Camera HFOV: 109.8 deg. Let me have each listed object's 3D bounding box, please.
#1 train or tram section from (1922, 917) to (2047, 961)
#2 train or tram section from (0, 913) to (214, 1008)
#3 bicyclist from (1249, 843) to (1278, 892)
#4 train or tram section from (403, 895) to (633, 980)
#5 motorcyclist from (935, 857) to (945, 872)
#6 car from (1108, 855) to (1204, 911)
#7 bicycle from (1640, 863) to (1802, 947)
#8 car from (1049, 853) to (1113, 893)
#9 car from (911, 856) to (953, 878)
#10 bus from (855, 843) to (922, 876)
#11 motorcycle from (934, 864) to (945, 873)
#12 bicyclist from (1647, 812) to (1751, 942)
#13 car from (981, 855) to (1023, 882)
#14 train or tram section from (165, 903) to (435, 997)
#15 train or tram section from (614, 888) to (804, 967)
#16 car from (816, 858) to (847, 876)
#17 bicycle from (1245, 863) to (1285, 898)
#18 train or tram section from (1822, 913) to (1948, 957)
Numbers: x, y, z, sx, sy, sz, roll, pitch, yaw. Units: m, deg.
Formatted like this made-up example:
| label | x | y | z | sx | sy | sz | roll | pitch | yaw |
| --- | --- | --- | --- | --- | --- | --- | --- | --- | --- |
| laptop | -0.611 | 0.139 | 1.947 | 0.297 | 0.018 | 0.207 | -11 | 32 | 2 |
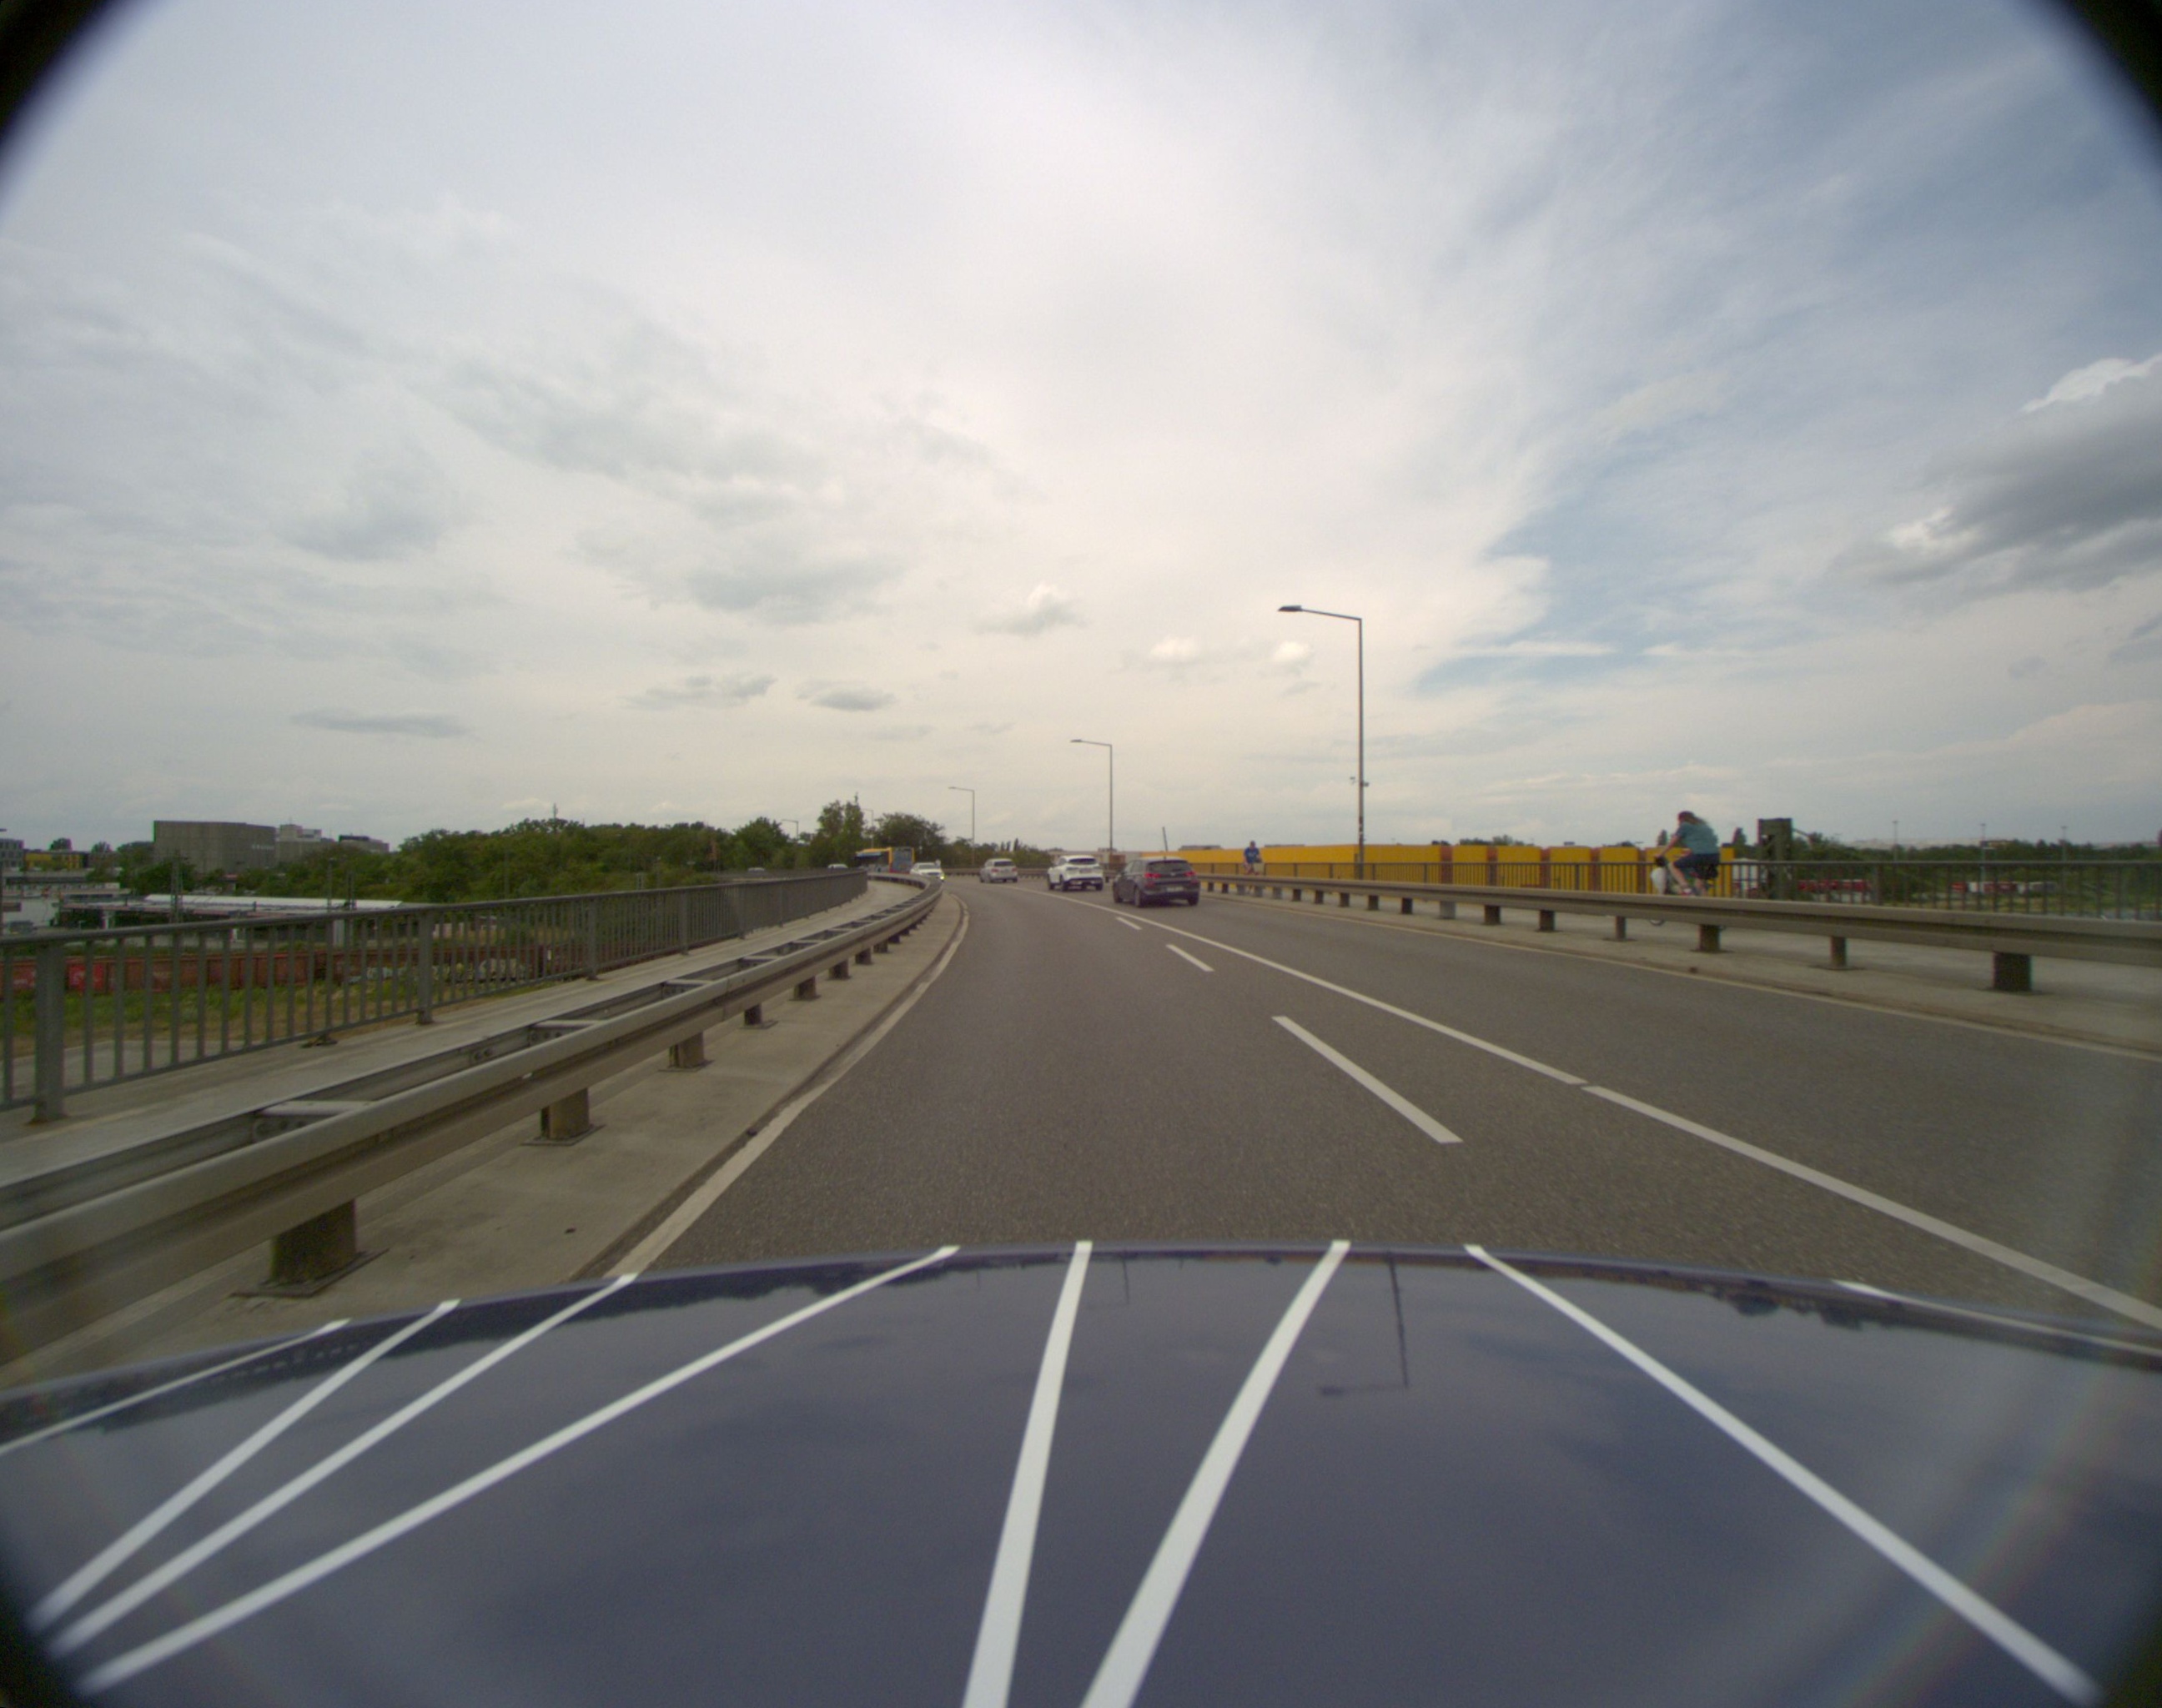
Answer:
| label | x | y | z | sx | sy | sz | roll | pitch | yaw |
| --- | --- | --- | --- | --- | --- | --- | --- | --- | --- |
| train or tram section | 99.279 | 9.321 | 83.506 | 12.762 | 4.071 | 2.081 | 3 | 0 | -7 |
| train or tram section | -72.011 | 7.494 | 53.063 | 15.025 | 5.644 | 3.971 | -2 | 1 | -17 |
| bicyclist | 5.921 | 0.433 | 24.721 | 0.612 | 1.531 | 0.756 | -2 | 1 | -12 |
| train or tram section | -44.600 | 6.514 | 60.891 | 14.264 | 5.566 | 3.654 | -2 | 1 | -14 |
| motorcyclist | -14.769 | 1.088 | 79.660 | 0.813 | 1.520 | 0.822 | -2 | 1 | -28 |
| car | 2.179 | 0.806 | 23.372 | 1.814 | 1.468 | 4.378 | -2 | 0 | -10 |
| bicycle | 9.111 | 0.681 | 10.921 | 0.648 | 1.061 | 1.760 | -2 | 1 | -10 |
| car | -0.094 | 0.797 | 34.204 | 1.947 | 1.584 | 4.769 | -2 | 0 | -11 |
| car | -11.028 | 0.972 | 56.015 | 1.941 | 1.448 | 3.878 | -3 | 0 | -27 |
| bus | -20.742 | 0.623 | 81.009 | 3.046 | 3.214 | 12.920 | -2 | 1 | -32 |
| motorcycle | -14.823 | 1.514 | 79.700 | 0.628 | 0.957 | 1.836 | -2 | 1 | -27 |
| bicyclist | 9.021 | 0.319 | 11.113 | 0.851 | 1.798 | 0.796 | -2 | 1 | -10 |
| car | -5.227 | 0.914 | 49.755 | 1.825 | 1.611 | 4.391 | -2 | 1 | -18 |
| train or tram section | -58.185 | 7.014 | 57.261 | 13.917 | 5.645 | 3.838 | -2 | 1 | -16 |
| train or tram section | -30.995 | 6.031 | 64.150 | 13.656 | 5.542 | 3.648 | -2 | 1 | -12 |
| car | -27.238 | 1.425 | 82.989 | 1.967 | 1.694 | 4.422 | -3 | 0 | -34 |
| bicycle | 5.943 | 0.833 | 24.591 | 0.494 | 1.039 | 1.808 | -2 | 1 | -12 |
| train or tram section | 86.627 | 8.749 | 81.890 | 12.762 | 4.071 | 2.081 | 3 | 0 | -7 |
